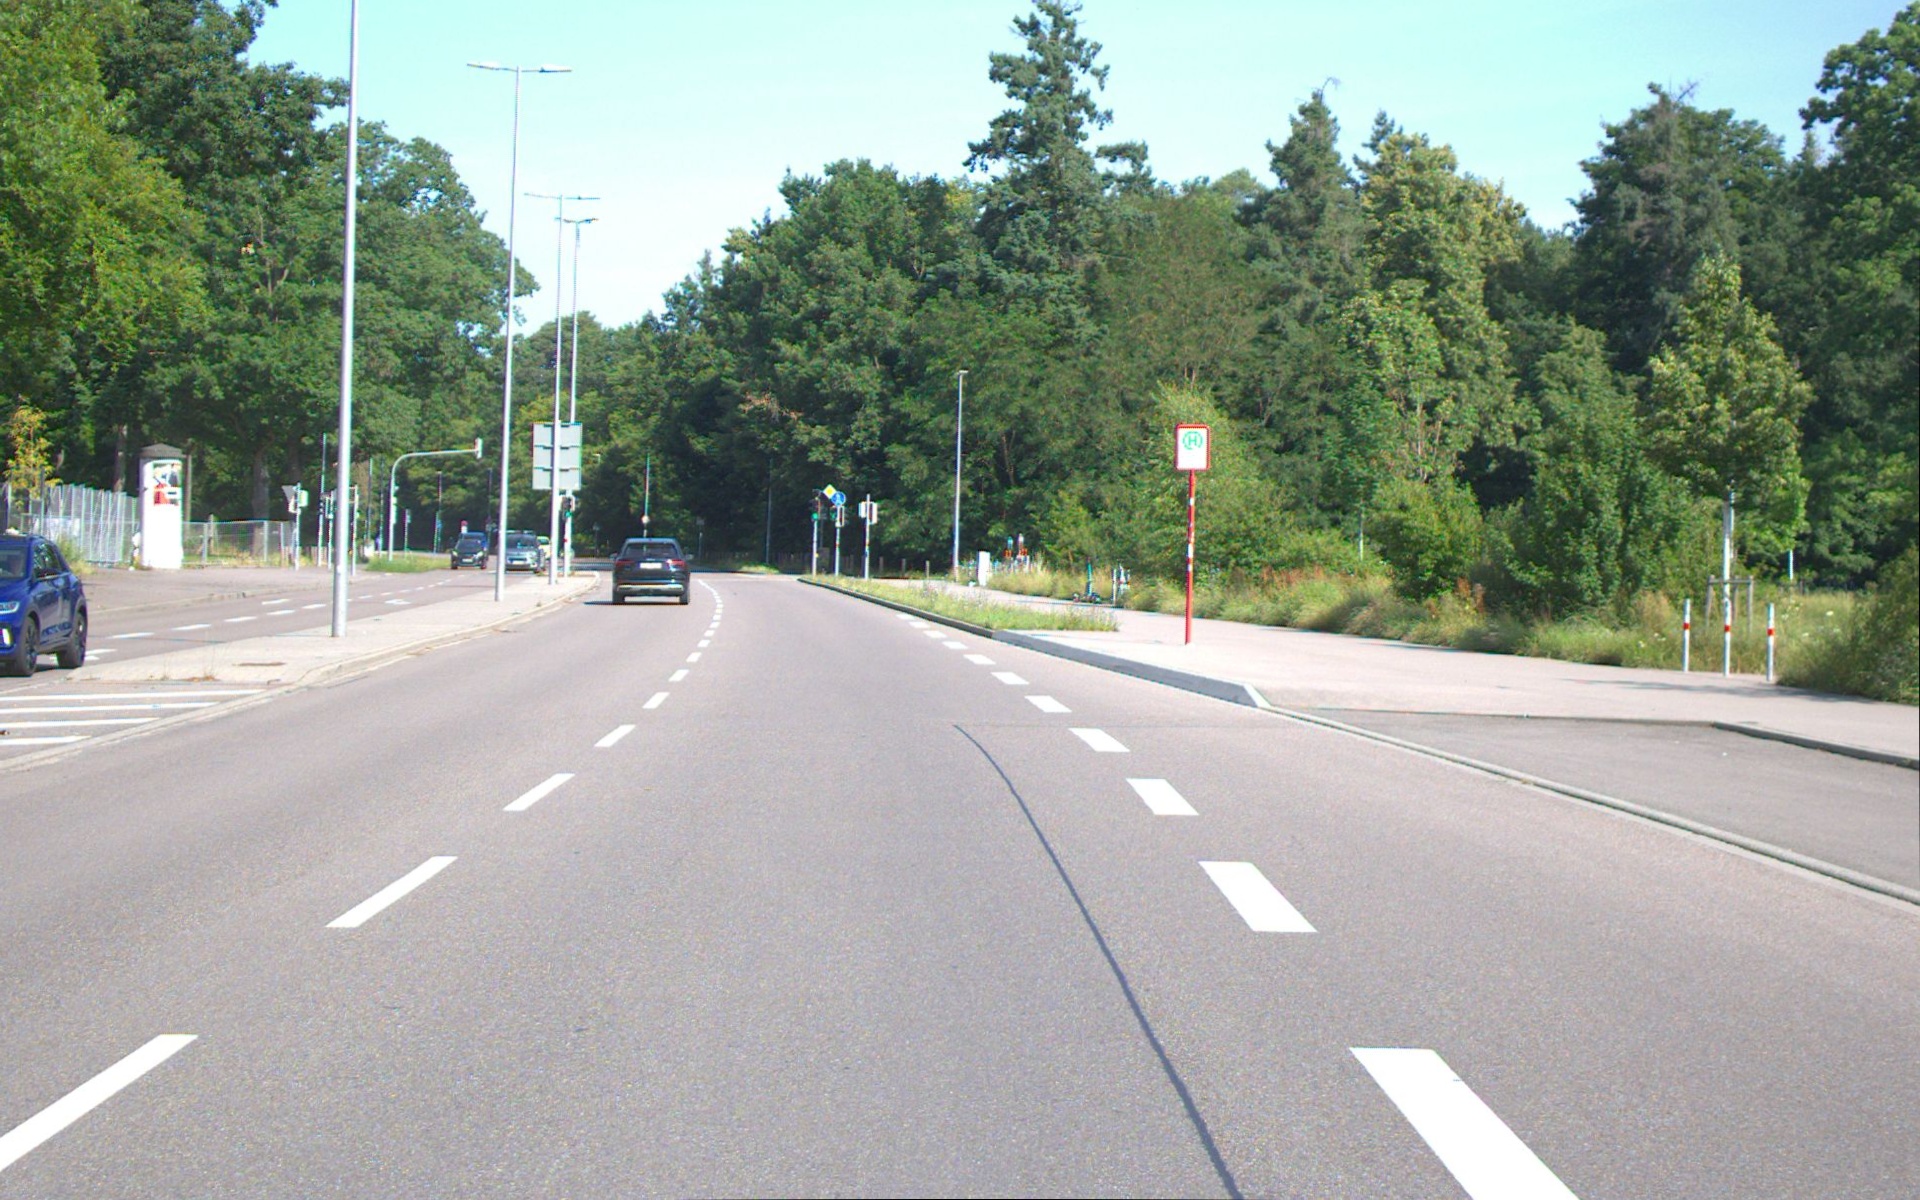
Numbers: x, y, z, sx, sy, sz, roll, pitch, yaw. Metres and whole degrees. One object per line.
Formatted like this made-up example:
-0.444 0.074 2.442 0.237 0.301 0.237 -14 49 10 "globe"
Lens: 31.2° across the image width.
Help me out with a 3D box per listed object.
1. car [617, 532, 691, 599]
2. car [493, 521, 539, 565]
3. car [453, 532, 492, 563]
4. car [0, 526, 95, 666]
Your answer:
-7.330 -0.844 82.308 1.687 1.539 4.149 0 1 -5 "car"
-19.953 -2.551 154.575 1.841 1.925 4.630 0 1 -5 "car"
-24.993 -2.702 176.357 1.793 1.473 4.001 2 1 -6 "car"
-10.900 -0.072 38.213 1.753 1.481 3.948 0 1 -3 "car"
